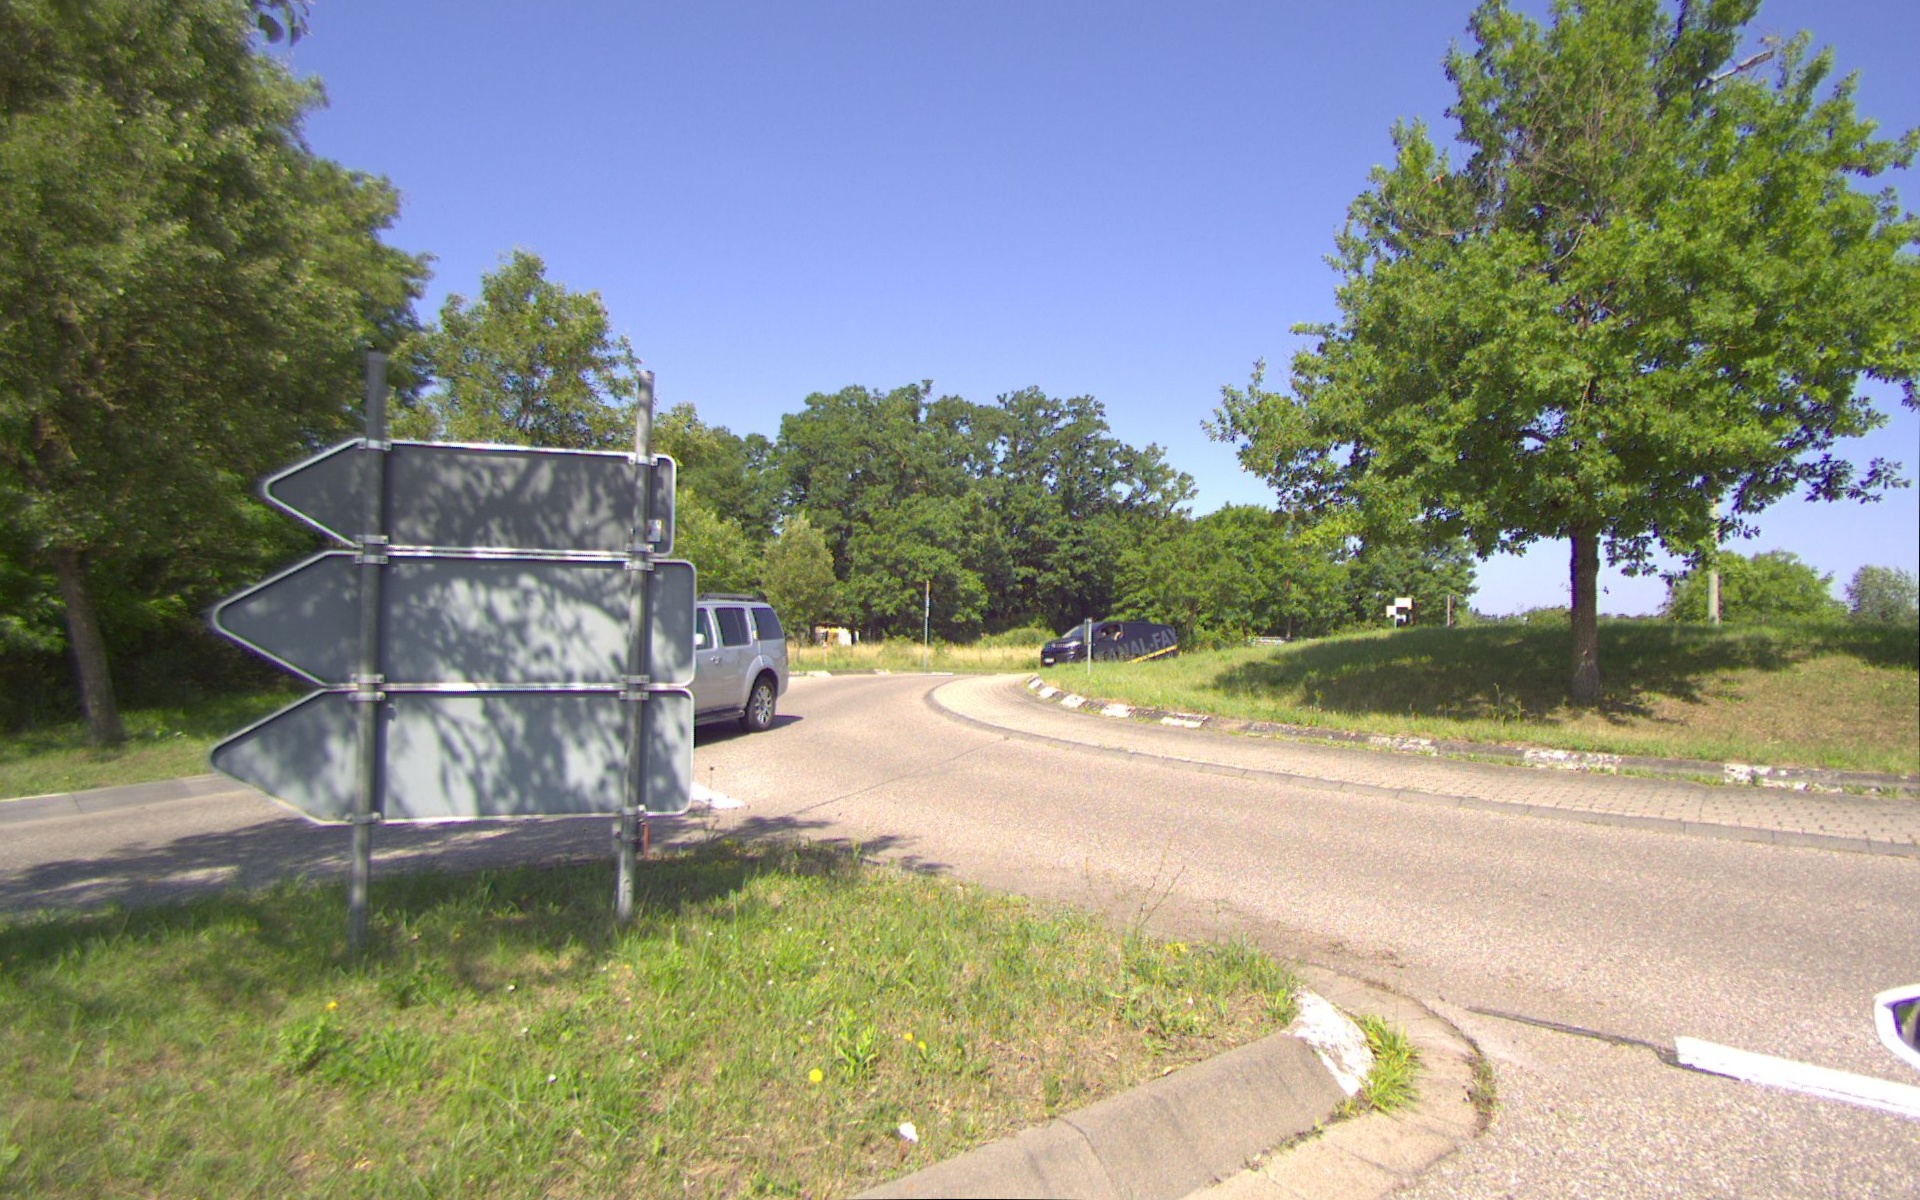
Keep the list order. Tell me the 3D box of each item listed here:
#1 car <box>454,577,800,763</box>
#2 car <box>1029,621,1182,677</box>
[{"bbox_3d":[-3.766,0.788,12.410,1.861,1.839,4.599,0,-2,14],"label":"car"},{"bbox_3d":[4.816,1.596,33.106,4.656,1.737,2.088,2,-2,-26],"label":"car"}]
